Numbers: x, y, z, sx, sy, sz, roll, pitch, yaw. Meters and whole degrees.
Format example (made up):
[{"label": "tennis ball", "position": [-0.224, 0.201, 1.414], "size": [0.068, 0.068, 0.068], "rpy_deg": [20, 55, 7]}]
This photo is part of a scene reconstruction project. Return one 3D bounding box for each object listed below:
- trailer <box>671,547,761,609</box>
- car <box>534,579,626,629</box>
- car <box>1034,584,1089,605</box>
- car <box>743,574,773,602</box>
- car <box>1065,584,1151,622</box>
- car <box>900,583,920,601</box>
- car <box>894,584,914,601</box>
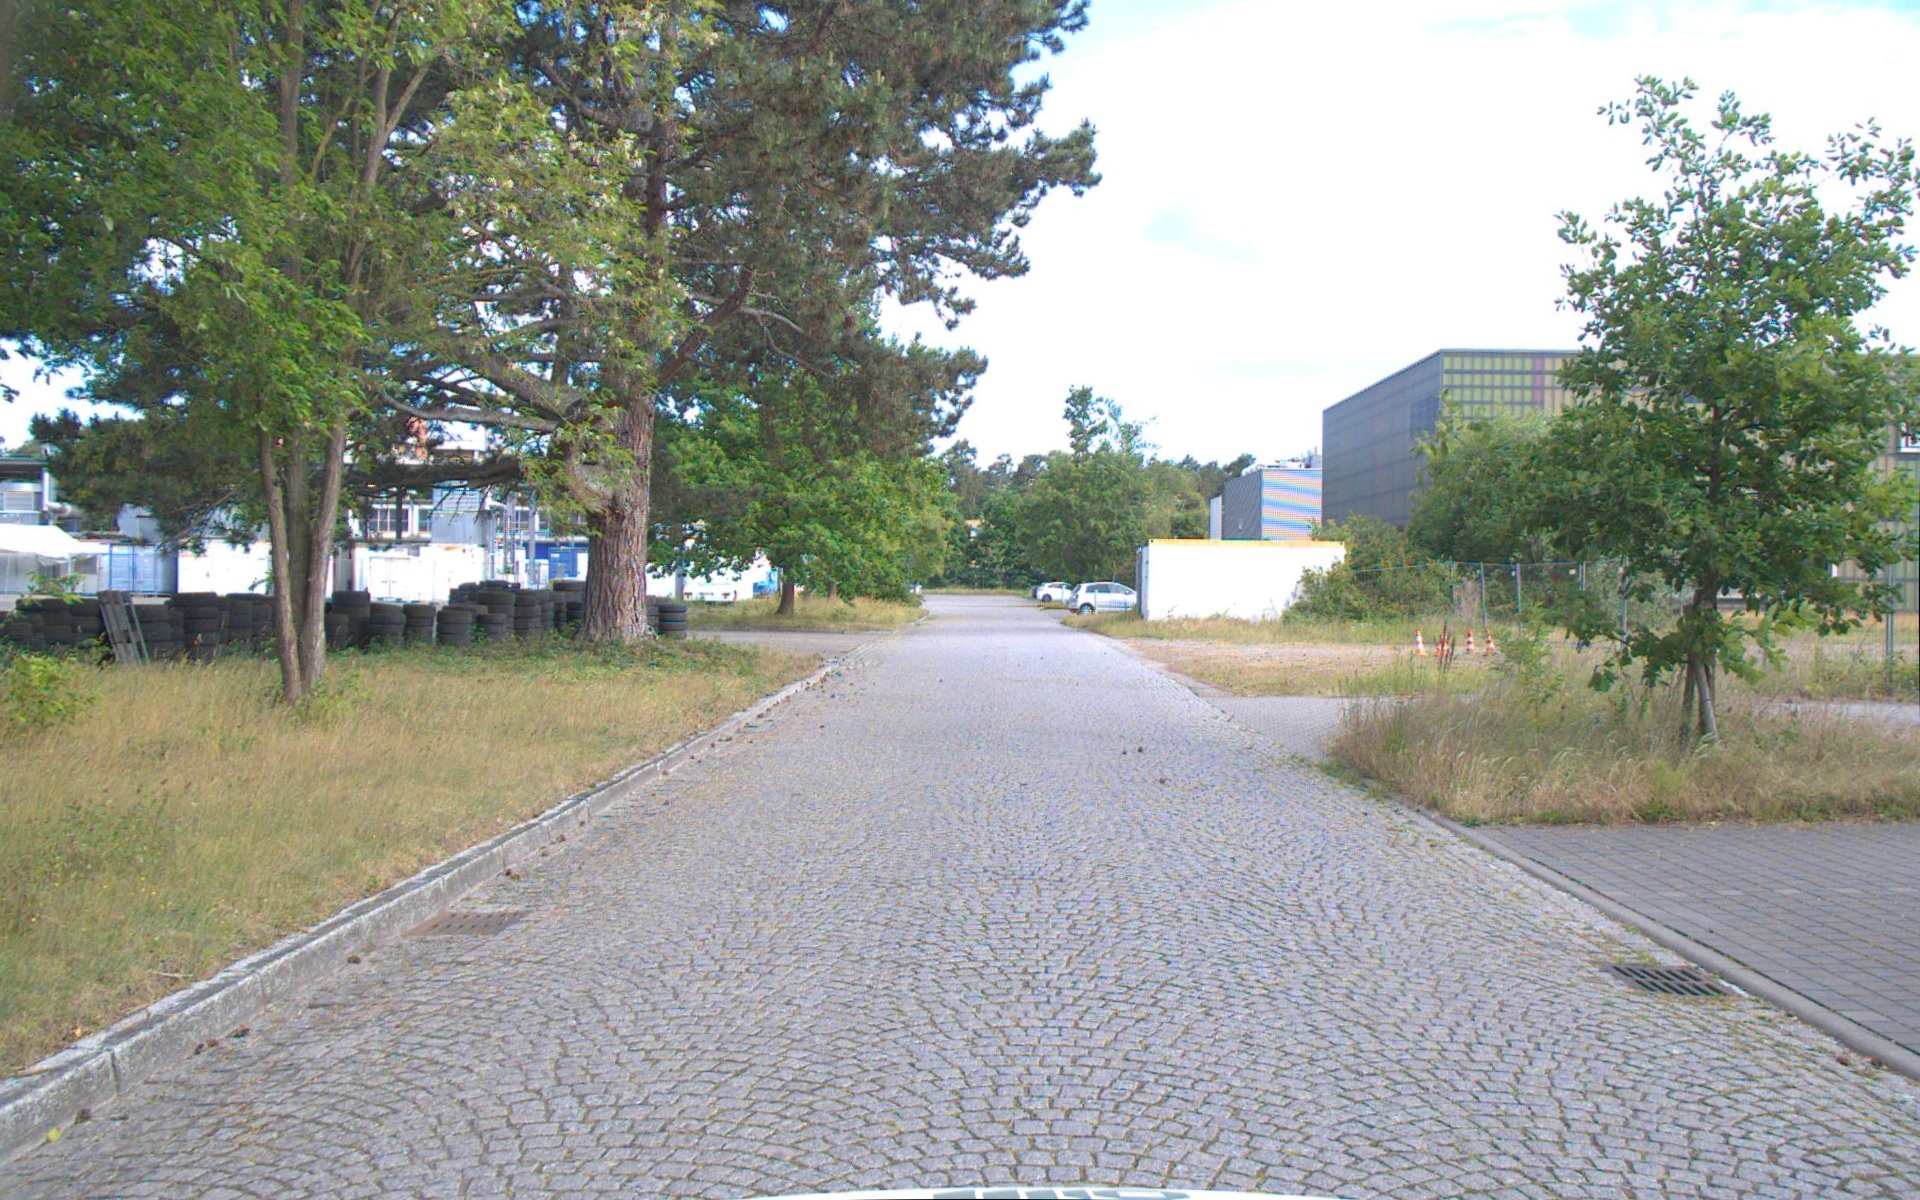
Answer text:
[{"label": "trailer", "position": [-12.987, -1.180, 88.820], "size": [3.093, 3.121, 8.787], "rpy_deg": [1, 1, 2]}, {"label": "car", "position": [-11.764, 0.105, 51.358], "size": [1.729, 1.478, 3.491], "rpy_deg": [1, 0, 6]}, {"label": "car", "position": [7.491, -0.430, 122.148], "size": [3.942, 1.528, 1.548], "rpy_deg": [1, 0, 1]}, {"label": "car", "position": [-15.788, -0.940, 129.434], "size": [1.886, 2.083, 4.599], "rpy_deg": [1, 0, -2]}, {"label": "car", "position": [6.786, 0.136, 75.997], "size": [3.772, 1.683, 1.686], "rpy_deg": [1, 0, -2]}, {"label": "car", "position": [-4.580, -0.741, 150.658], "size": [1.767, 1.561, 3.999], "rpy_deg": [1, 0, -2]}, {"label": "car", "position": [-4.792, -0.649, 141.302], "size": [1.700, 1.495, 4.044], "rpy_deg": [1, 0, -2]}]
